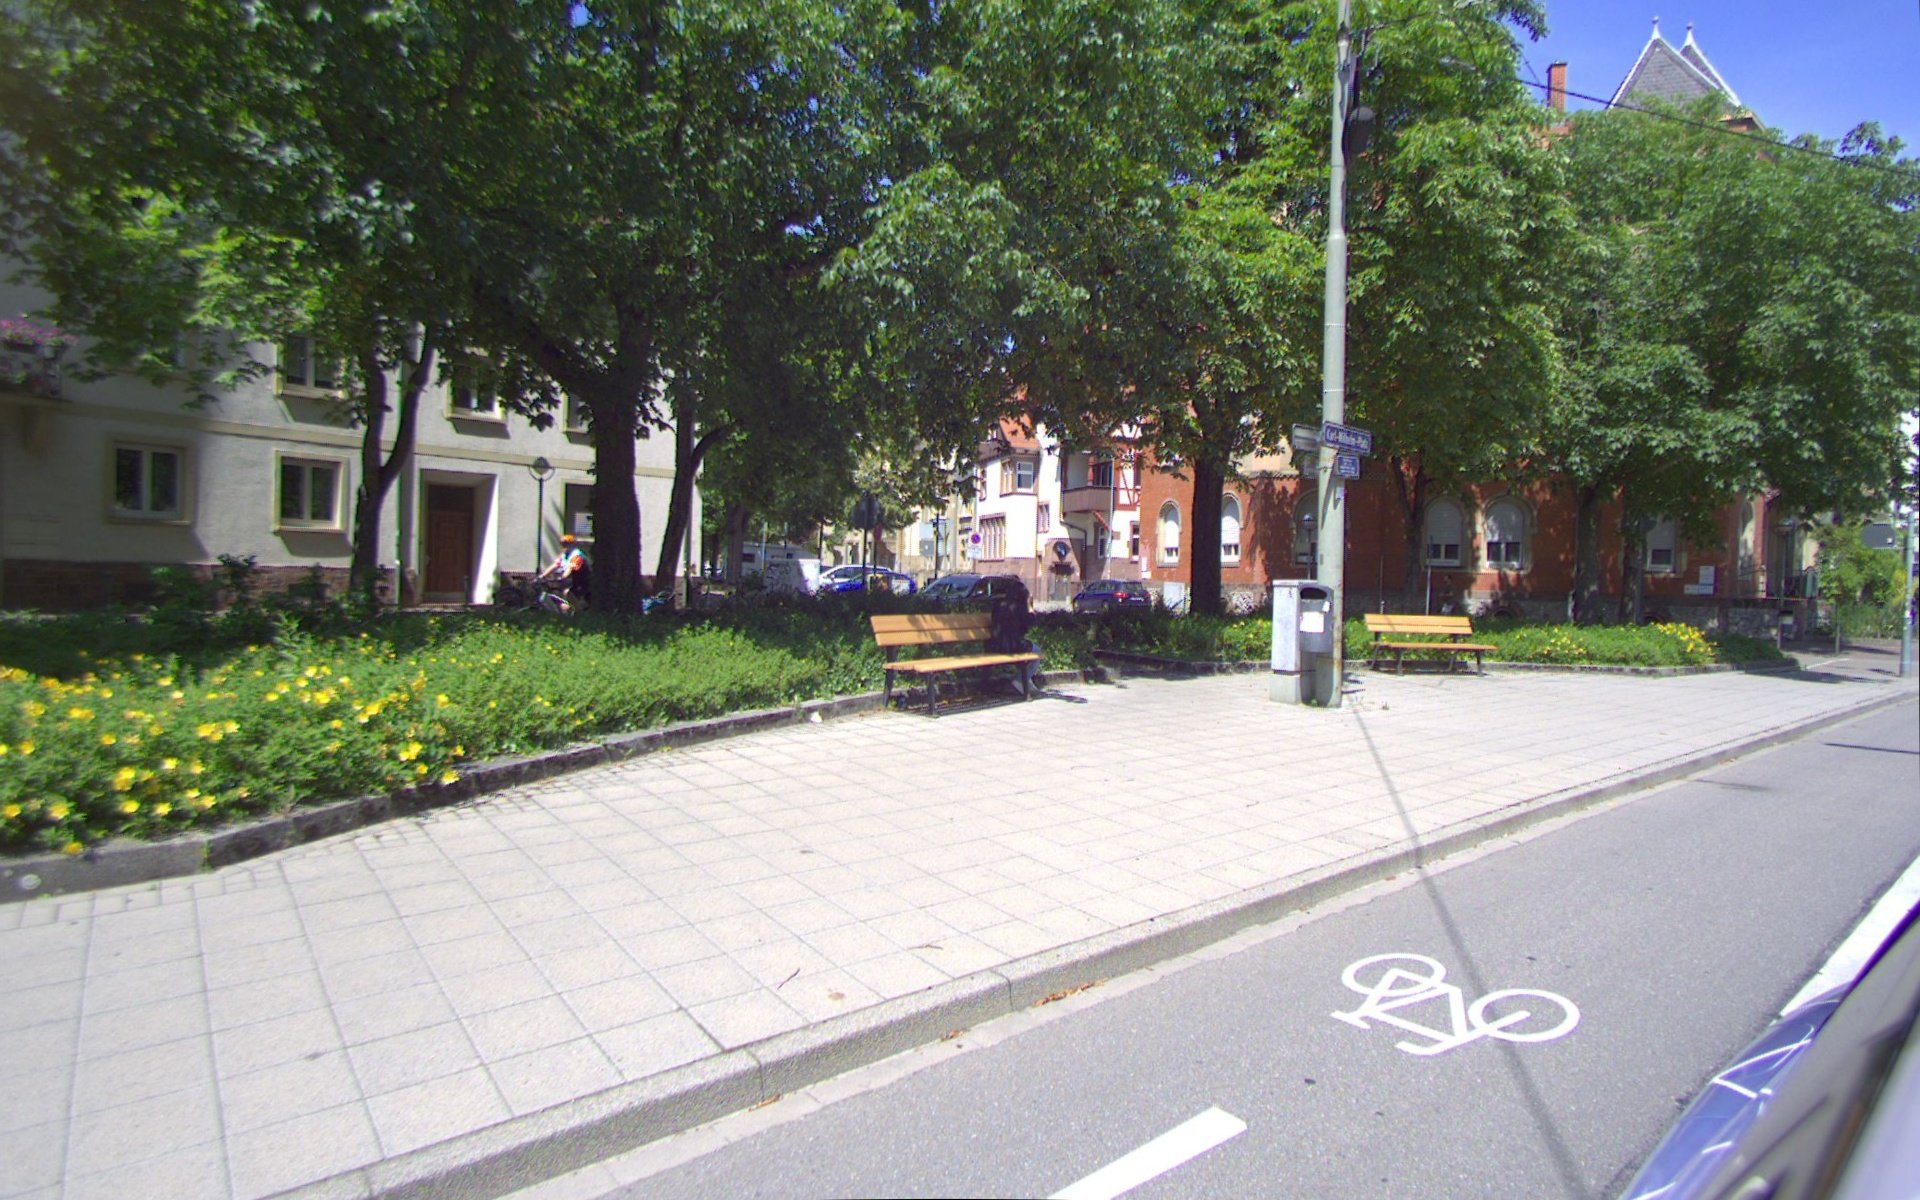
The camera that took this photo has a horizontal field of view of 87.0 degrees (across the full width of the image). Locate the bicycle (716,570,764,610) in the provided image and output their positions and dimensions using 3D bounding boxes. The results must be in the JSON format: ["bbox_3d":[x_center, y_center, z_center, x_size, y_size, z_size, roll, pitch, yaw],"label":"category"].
[{"bbox_3d":[-5.867,-0.269,26.897,0.736,1.024,2.273,0,0,-26],"label":"bicycle"}]

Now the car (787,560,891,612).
[{"bbox_3d":[-5.371,-0.632,44.822,4.219,2.219,1.942,0,0,-18],"label":"car"}]

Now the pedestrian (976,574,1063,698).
[{"bbox_3d":[0.600,0.336,10.068,0.562,1.156,0.718,3,2,33],"label":"pedestrian"}]

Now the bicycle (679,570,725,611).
[{"bbox_3d":[-6.774,-0.260,26.468,0.736,1.024,2.273,0,0,-26],"label":"bicycle"}]

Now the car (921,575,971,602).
[{"bbox_3d":[-0.919,-0.699,63.246,1.897,1.638,4.318,0,0,-19],"label":"car"}]

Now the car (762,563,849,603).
[{"bbox_3d":[-8.084,-0.887,52.931,4.219,2.029,1.942,0,0,-18],"label":"car"}]

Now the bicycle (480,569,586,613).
[{"bbox_3d":[-10.252,-0.221,24.368,2.230,1.024,0.751,-1,0,-41],"label":"bicycle"}]

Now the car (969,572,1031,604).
[{"bbox_3d":[2.066,-0.627,54.068,1.897,1.638,4.318,0,0,-19],"label":"car"}]

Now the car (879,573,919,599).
[{"bbox_3d":[-4.503,-1.015,74.455,1.897,1.897,4.318,0,0,-19],"label":"car"}]

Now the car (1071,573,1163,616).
[{"bbox_3d":[6.276,-0.239,41.019,1.897,1.638,4.318,0,0,-19],"label":"car"}]

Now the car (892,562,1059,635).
[{"bbox_3d":[0.496,-0.056,25.208,1.927,1.638,4.464,0,1,37],"label":"car"}]

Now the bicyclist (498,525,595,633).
[{"bbox_3d":[-6.854,-0.344,16.793,0.871,1.717,1.235,0,0,42],"label":"bicyclist"}]

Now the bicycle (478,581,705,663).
[{"bbox_3d":[-6.243,0.315,17.467,0.951,1.279,3.688,0,0,42],"label":"bicycle"}]

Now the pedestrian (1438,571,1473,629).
[{"bbox_3d":[16.131,-0.015,32.976,0.826,1.846,0.671,2,1,12],"label":"pedestrian"}]

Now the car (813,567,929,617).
[{"bbox_3d":[-3.544,-0.326,40.009,4.219,1.903,1.942,0,0,-18],"label":"car"}]
